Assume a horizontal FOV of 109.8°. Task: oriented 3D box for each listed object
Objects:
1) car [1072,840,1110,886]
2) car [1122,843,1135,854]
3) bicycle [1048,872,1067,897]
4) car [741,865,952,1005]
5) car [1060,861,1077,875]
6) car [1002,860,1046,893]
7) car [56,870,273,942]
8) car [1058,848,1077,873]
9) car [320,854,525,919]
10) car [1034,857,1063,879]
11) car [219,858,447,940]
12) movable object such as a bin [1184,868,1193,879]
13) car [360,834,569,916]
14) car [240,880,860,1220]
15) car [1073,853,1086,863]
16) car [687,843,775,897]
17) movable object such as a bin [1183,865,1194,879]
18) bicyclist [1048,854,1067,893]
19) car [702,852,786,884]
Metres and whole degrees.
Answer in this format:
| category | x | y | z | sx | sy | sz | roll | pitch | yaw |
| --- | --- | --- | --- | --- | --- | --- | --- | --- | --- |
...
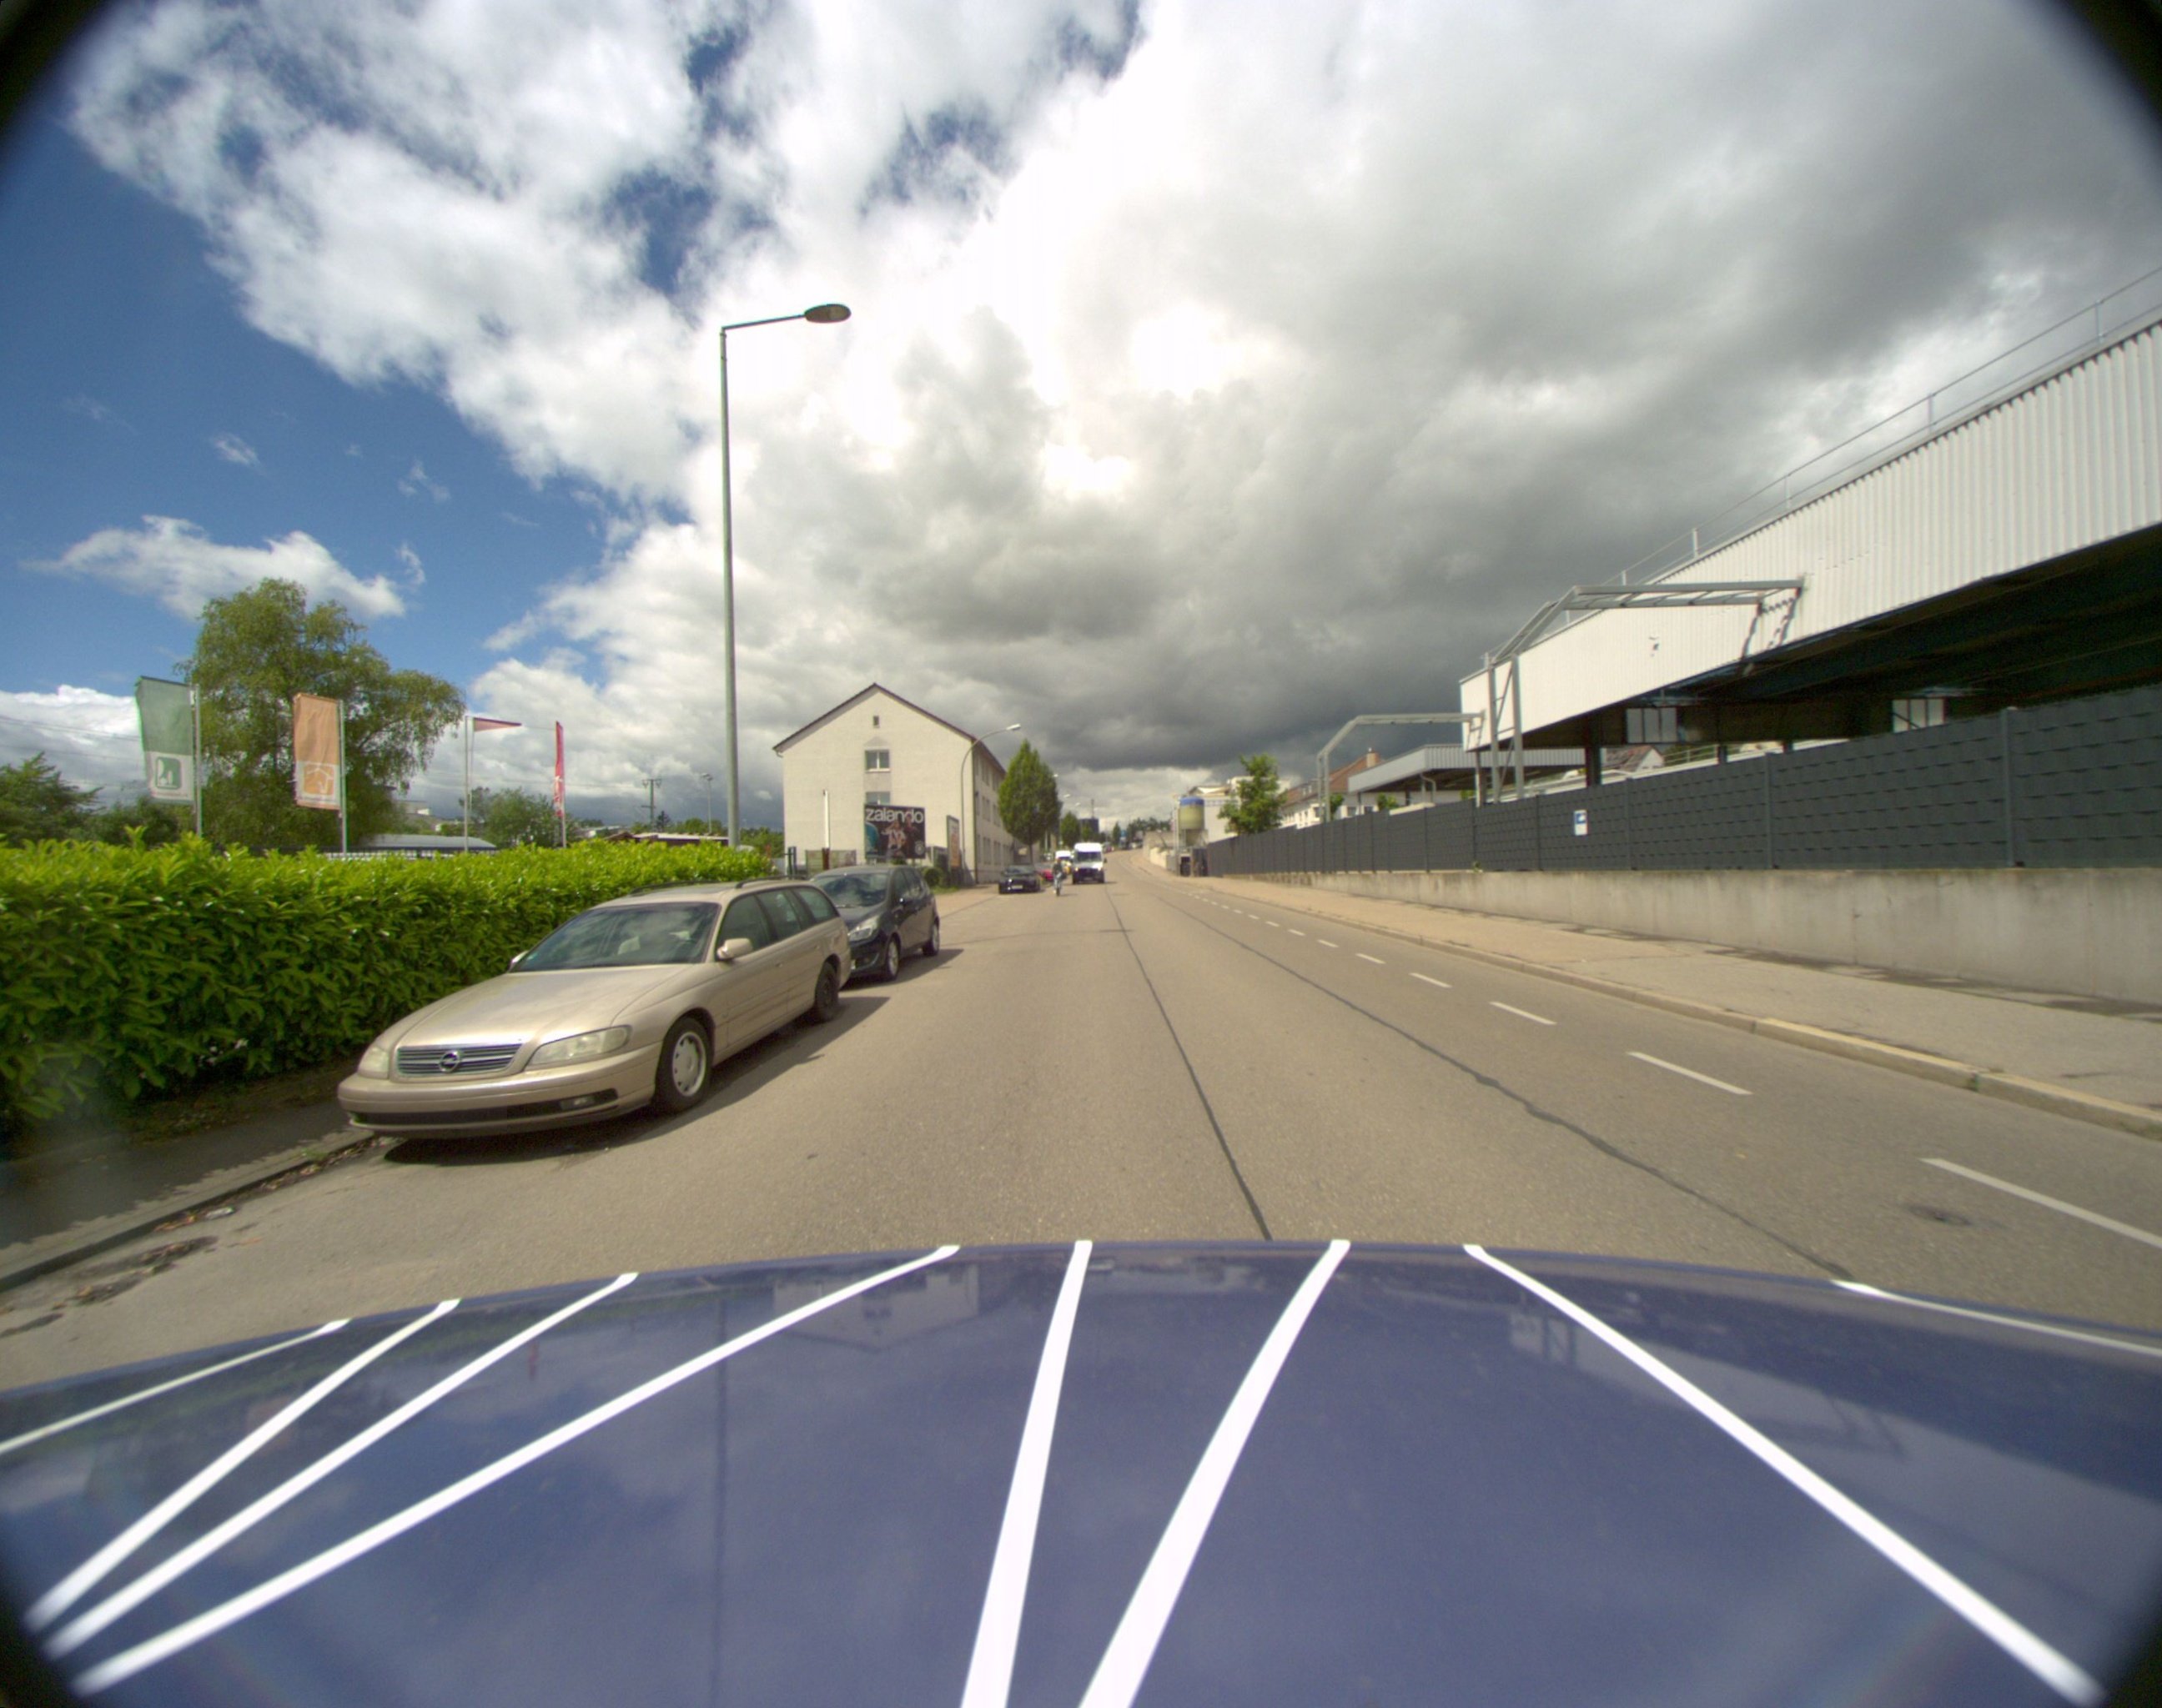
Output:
| category | x | y | z | sx | sy | sz | roll | pitch | yaw |
| --- | --- | --- | --- | --- | --- | --- | --- | --- | --- |
| car | 0.706 | 0.469 | 47.727 | 2.082 | 2.576 | 6.062 | -2 | 2 | 3 |
| car | 12.322 | -1.386 | 197.827 | 2.057 | 2.579 | 5.740 | -1 | 1 | 16 |
| bicycle | -0.980 | 1.271 | 32.375 | 0.742 | 0.969 | 1.732 | -2 | 0 | -1 |
| car | -3.274 | 1.045 | 11.514 | 1.683 | 1.628 | 4.123 | -2 | 0 | 3 |
| car | -1.333 | 1.475 | 82.436 | 1.596 | 1.439 | 3.790 | -2 | 0 | 2 |
| car | -2.804 | 1.099 | 38.193 | 1.796 | 1.457 | 4.708 | -2 | 0 | 0 |
| car | -25.923 | 1.397 | 21.728 | 1.585 | 1.776 | 3.839 | 0 | 0 | 44 |
| car | -1.508 | 0.744 | 88.747 | 2.038 | 2.626 | 7.280 | -2 | 2 | 0 |
| car | -22.241 | 1.001 | 25.862 | 1.829 | 1.970 | 5.109 | 0 | 0 | 44 |
| car | -2.267 | 0.983 | 53.934 | 1.739 | 1.463 | 4.262 | -2 | -1 | 2 |
| car | -19.384 | 1.066 | 19.839 | 1.812 | 1.860 | 4.050 | 0 | 0 | 40 |
| movable object such as a bin | 10.725 | 1.927 | 75.692 | 0.874 | 1.044 | 0.741 | 1 | -1 | 5 |
| car | -23.465 | 0.728 | 29.177 | 2.060 | 2.827 | 5.988 | 0 | 0 | 44 |
| car | -3.391 | 1.080 | 6.233 | 1.659 | 1.531 | 4.734 | -2 | 0 | 1 |
| car | -0.167 | 0.624 | 125.978 | 1.846 | 1.556 | 4.465 | 0 | 2 | 3 |
| car | -19.419 | 0.799 | 42.522 | 2.282 | 2.752 | 5.454 | -2 | 2 | 0 |
| movable object such as a bin | 10.805 | 1.767 | 76.665 | 0.993 | 1.384 | 1.216 | 1 | -1 | 3 |
| bicyclist | -1.000 | 0.835 | 32.455 | 0.741 | 1.617 | 0.731 | -2 | 2 | -1 |
| car | -23.669 | 0.939 | 53.490 | 4.964 | 2.024 | 1.999 | -2 | 2 | 0 |
